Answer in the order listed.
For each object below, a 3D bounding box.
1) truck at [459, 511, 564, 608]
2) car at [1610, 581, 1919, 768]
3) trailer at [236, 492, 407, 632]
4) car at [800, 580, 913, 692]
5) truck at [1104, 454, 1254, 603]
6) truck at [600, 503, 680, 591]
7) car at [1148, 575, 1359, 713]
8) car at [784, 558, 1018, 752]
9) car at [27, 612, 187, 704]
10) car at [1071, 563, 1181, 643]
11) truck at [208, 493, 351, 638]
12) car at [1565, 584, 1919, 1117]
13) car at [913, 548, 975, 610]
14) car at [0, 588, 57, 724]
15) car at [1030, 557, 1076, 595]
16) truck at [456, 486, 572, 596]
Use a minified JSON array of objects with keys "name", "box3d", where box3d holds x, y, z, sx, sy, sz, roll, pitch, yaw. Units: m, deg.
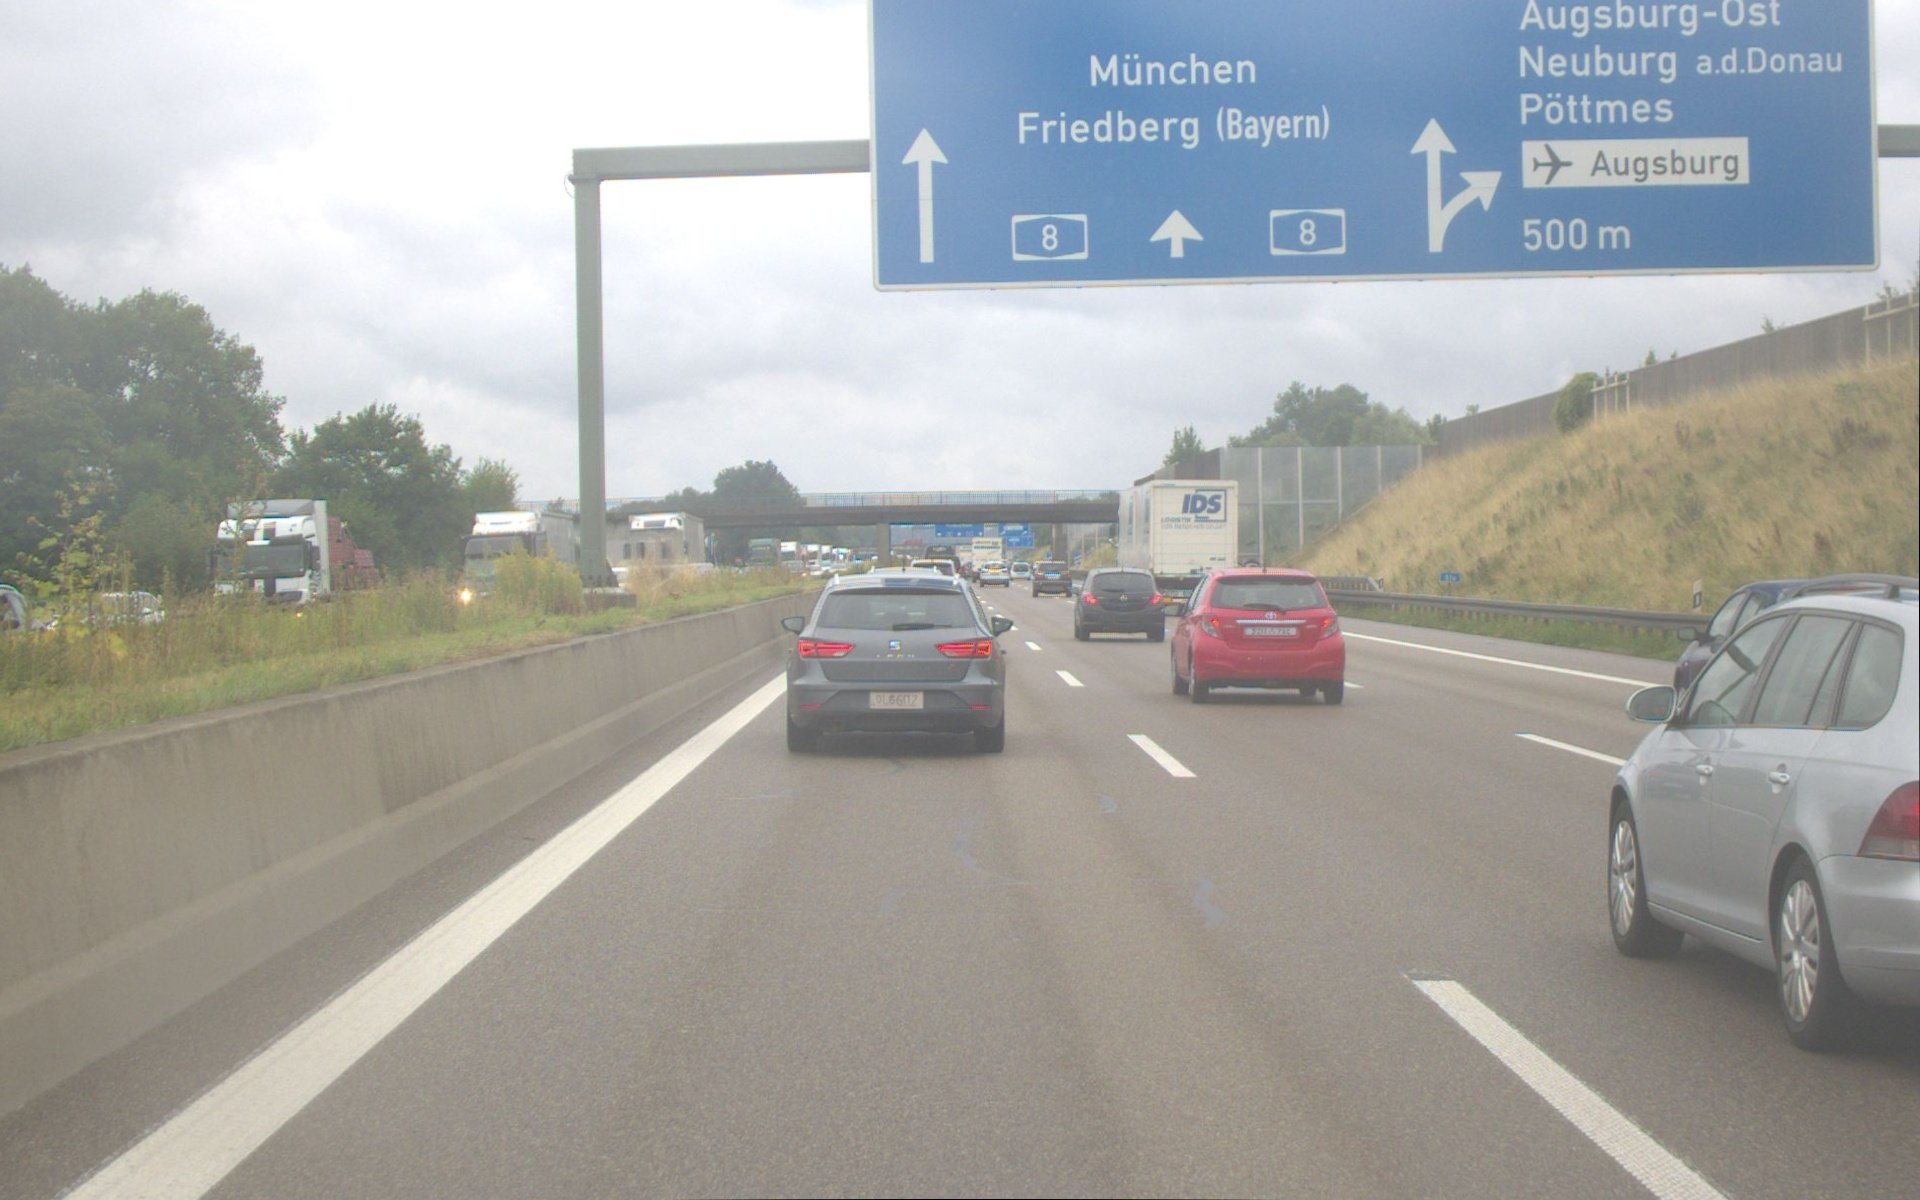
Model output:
[{"name":"truck","box3d":[-14.011,-1.236,107.836,2.311,2.898,7.424,1,0,0]},{"name":"car","box3d":[6.567,0.559,28.108,1.702,1.396,3.875,1,0,-1]},{"name":"trailer","box3d":[-18.143,-1.203,98.464,2.641,3.713,12.194,1,2,0]},{"name":"car","box3d":[-1.657,0.559,56.067,1.754,1.744,4.000,1,0,-1]},{"name":"truck","box3d":[6.775,-2.129,109.554,3.283,4.280,19.034,1,0,-1]},{"name":"truck","box3d":[-14.772,-2.432,159.142,3.092,3.962,6.372,1,0,0]},{"name":"car","box3d":[3.272,0.455,39.164,1.891,1.442,4.685,0,1,-1]},{"name":"car","box3d":[-0.512,0.409,28.258,1.768,1.462,4.000,1,0,-2]},{"name":"car","box3d":[-17.093,1.131,69.128,1.993,1.711,4.837,1,0,0]},{"name":"car","box3d":[3.318,0.032,69.330,1.921,1.516,4.622,0,1,-1]},{"name":"truck","box3d":[-18.154,-0.975,91.984,2.641,3.713,5.872,1,2,0]},{"name":"car","box3d":[3.368,0.678,11.729,1.742,1.420,4.517,-1,1,-1]},{"name":"car","box3d":[-0.510,-0.653,104.606,1.704,1.790,3.855,-2,1,-2]},{"name":"car","box3d":[-13.036,0.731,44.212,1.754,1.702,4.000,-1,1,0]},{"name":"car","box3d":[4.198,-1.088,155.475,1.845,1.681,4.000,1,0,-1]},{"name":"truck","box3d":[-17.847,-2.328,137.997,3.615,4.260,7.591,1,0,0]}]
